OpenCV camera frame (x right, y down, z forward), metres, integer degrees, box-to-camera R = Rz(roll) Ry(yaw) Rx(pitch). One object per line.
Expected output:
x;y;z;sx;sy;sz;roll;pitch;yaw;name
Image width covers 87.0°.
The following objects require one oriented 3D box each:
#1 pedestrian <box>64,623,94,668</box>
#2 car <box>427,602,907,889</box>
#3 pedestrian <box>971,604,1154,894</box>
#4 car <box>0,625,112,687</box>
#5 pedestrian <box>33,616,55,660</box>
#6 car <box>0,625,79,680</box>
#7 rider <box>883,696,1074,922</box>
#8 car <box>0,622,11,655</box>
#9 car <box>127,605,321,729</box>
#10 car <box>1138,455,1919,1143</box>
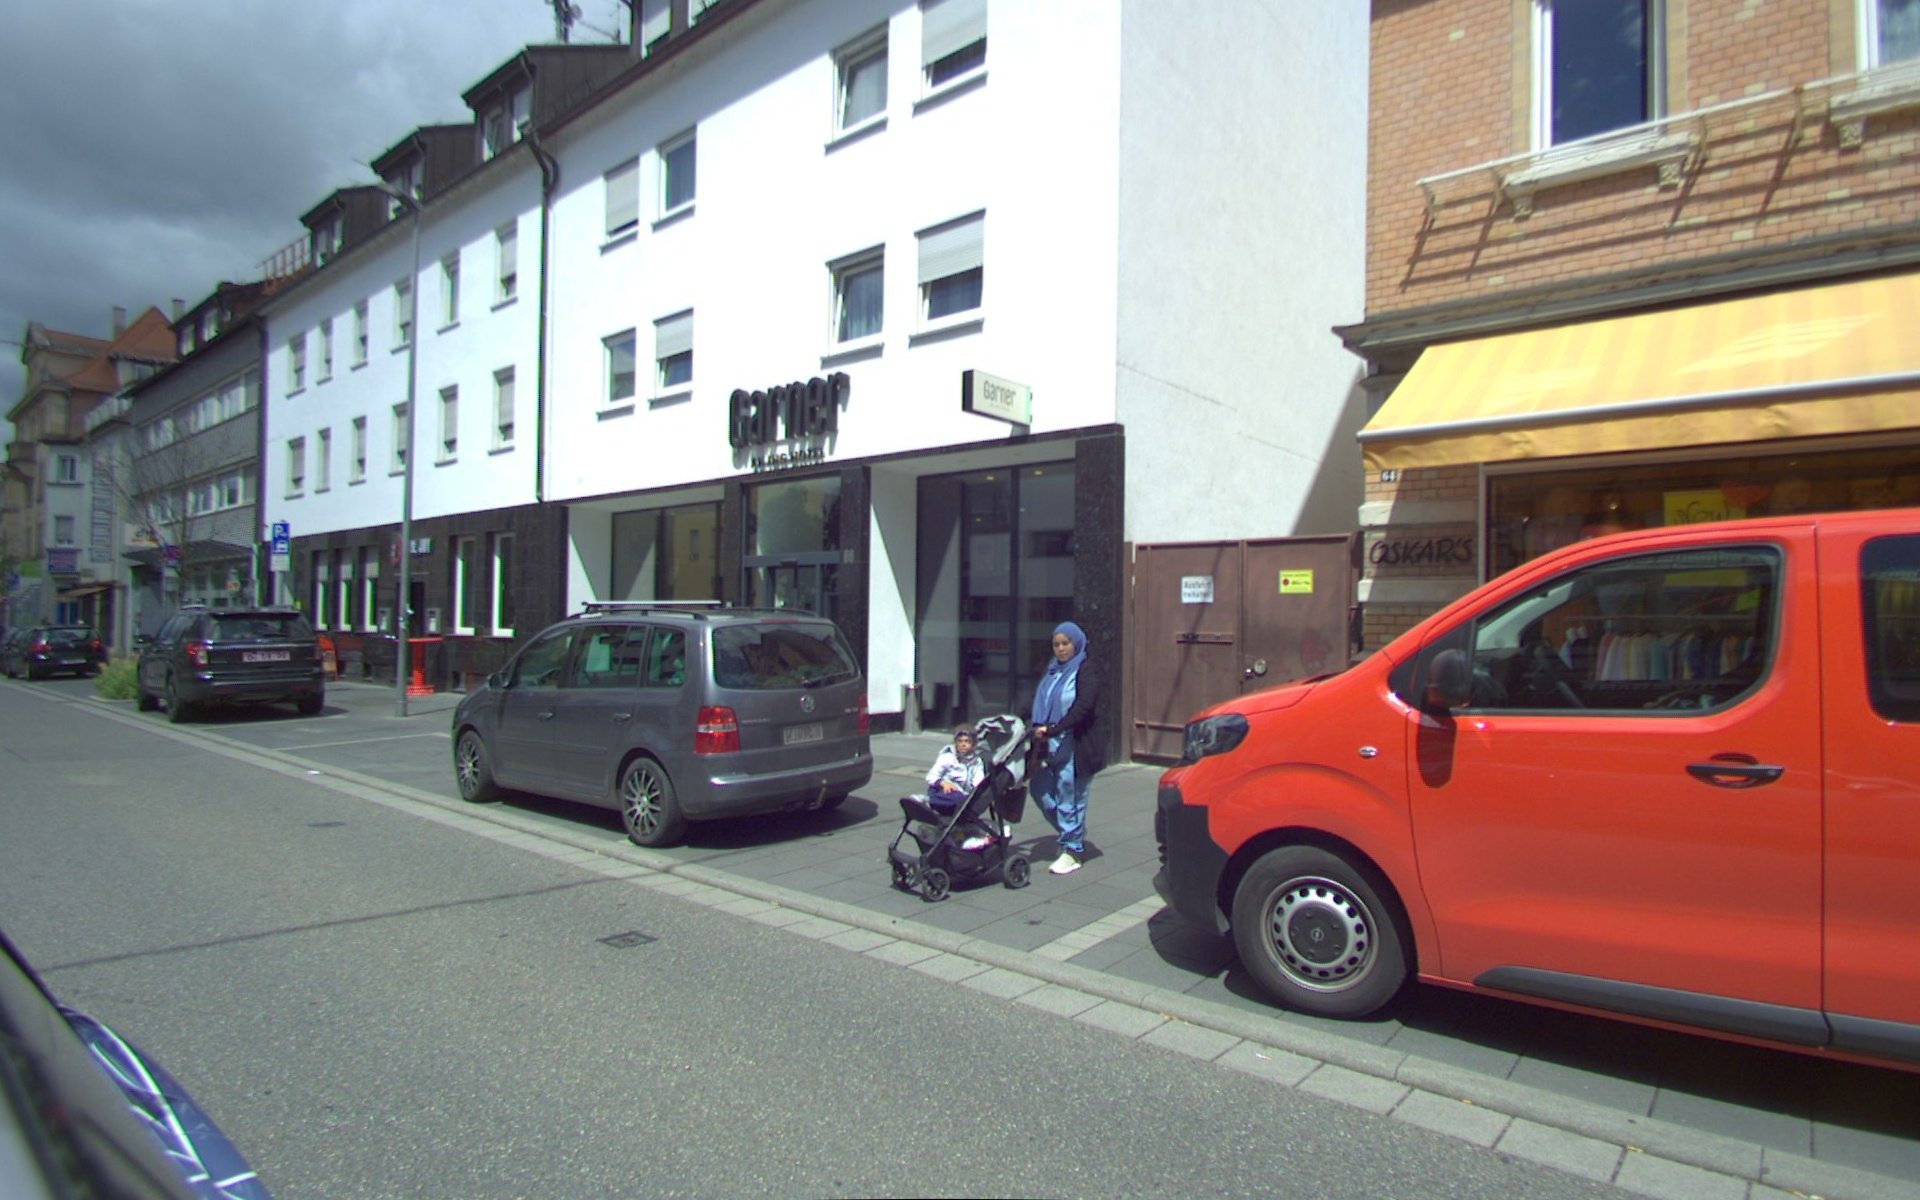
-32.701;1.662;37.574;0.650;1.630;0.725;0;0;36;pedestrian
-2.646;0.910;8.446;4.463;1.768;1.797;0;0;42;car
0.623;0.822;6.119;0.779;1.586;0.797;-1;0;43;pedestrian
-25.050;1.492;27.999;4.175;1.515;1.772;-1;0;40;car
-37.513;1.555;41.457;0.728;1.770;0.543;0;0;38;pedestrian
-29.475;1.592;32.060;4.711;1.524;1.771;0;0;42;car
0.107;1.088;5.561;0.707;1.021;0.795;0;0;43;rider
-43.412;1.694;44.586;3.547;1.457;1.584;-1;-2;34;car
-12.264;0.969;16.734;4.670;1.768;1.796;0;0;44;car
3.204;0.548;3.512;4.834;1.903;1.799;0;0;38;car
